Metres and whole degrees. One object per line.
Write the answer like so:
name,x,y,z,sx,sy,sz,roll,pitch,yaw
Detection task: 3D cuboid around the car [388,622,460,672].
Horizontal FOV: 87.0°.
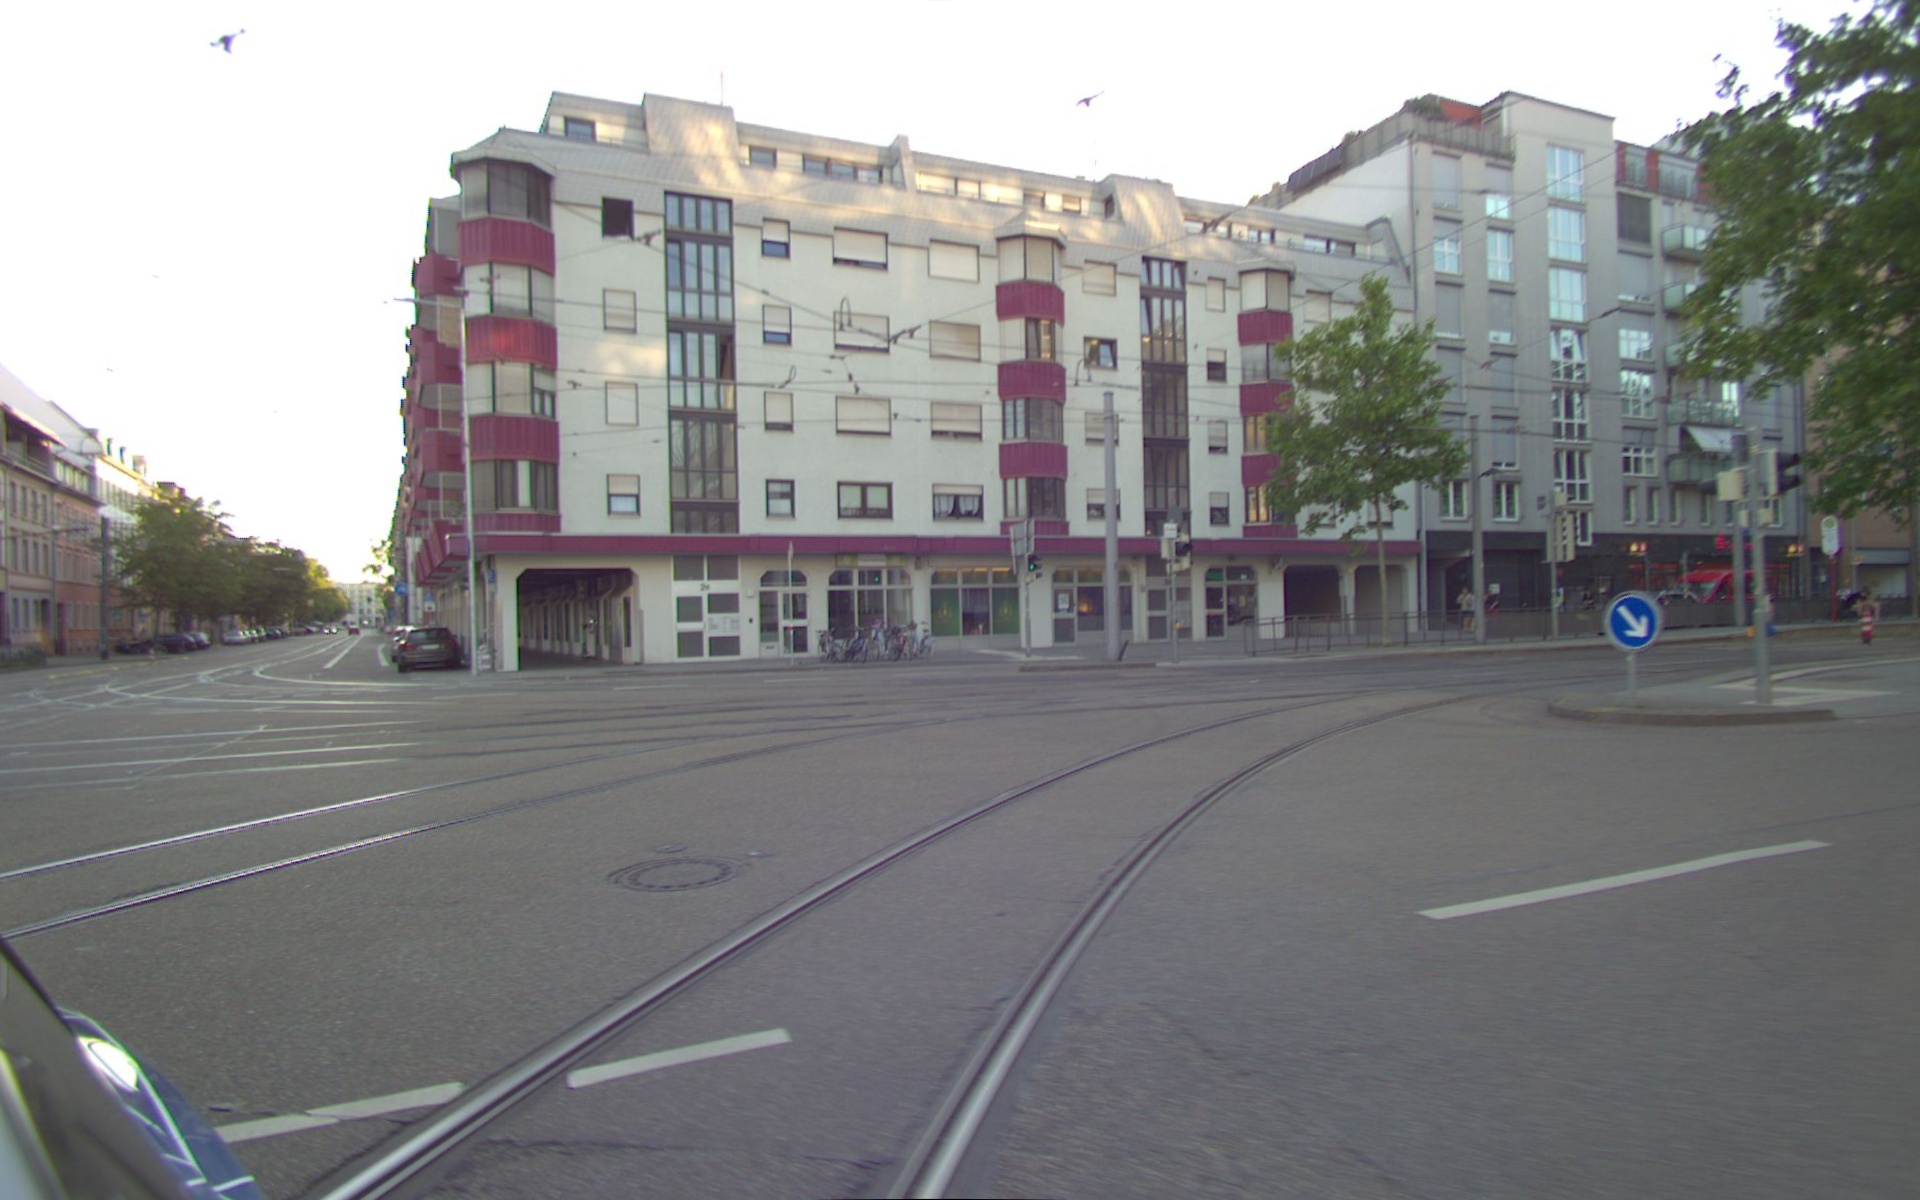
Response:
car,-17.872,1.510,33.846,1.973,1.468,4.311,-1,0,-27

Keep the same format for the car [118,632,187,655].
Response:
car,-58.341,3.144,73.207,3.711,1.497,1.912,-1,-1,-34

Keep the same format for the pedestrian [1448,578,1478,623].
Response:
pedestrian,20.851,0.028,41.935,0.821,1.820,0.694,-1,-1,-21

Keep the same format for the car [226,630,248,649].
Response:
car,-77.042,4.206,107.894,1.757,1.853,4.308,-1,-1,-34

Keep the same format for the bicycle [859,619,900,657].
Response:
bicycle,-2.362,1.095,29.538,0.506,1.054,1.909,-1,-1,-26

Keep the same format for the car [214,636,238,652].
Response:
car,-73.429,4.382,101.335,1.757,1.468,4.308,-1,-1,-34

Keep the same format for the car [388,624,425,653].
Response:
car,-31.311,2.151,57.276,1.756,1.468,4.310,-1,-1,-28

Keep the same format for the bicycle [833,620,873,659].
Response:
bicycle,-3.097,1.120,29.133,0.506,1.054,1.909,-1,-1,-26

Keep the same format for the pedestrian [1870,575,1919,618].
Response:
pedestrian,33.011,-0.115,35.725,0.980,1.464,0.941,-1,-1,-23

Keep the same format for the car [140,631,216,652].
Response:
car,-61.848,3.269,80.131,4.627,1.497,1.912,-1,-1,-34

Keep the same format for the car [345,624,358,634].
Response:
car,-102.971,4.907,171.333,1.757,1.468,4.309,-1,-1,-32

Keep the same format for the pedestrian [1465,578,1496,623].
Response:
pedestrian,21.175,0.024,41.182,0.821,1.820,0.694,-1,-1,-21

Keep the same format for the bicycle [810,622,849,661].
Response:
bicycle,-3.738,1.167,28.829,0.506,1.054,1.909,-1,-1,-26

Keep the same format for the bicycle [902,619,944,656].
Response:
bicycle,-1.101,1.088,29.742,0.506,1.054,1.909,-1,-1,-26

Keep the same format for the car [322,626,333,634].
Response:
car,-126.232,6.045,201.945,1.756,1.468,4.310,-1,-1,-31

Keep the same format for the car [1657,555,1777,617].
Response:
car,33.582,-0.626,44.869,4.994,2.560,1.857,-2,-1,-22

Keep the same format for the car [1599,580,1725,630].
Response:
car,24.579,0.172,35.446,4.031,1.608,1.671,-1,-1,-23

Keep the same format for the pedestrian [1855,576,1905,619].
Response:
pedestrian,32.096,-0.080,35.317,0.980,1.464,0.941,-1,-1,-23

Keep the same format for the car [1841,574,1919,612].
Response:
car,41.455,-0.308,45.098,4.031,1.608,1.671,-1,-1,-23

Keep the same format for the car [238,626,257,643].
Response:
car,-84.664,4.108,120.270,1.757,1.853,4.308,-1,-1,-34

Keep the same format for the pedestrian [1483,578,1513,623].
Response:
pedestrian,22.260,0.009,41.886,0.821,1.820,0.694,-1,-1,-21

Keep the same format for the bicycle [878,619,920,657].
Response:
bicycle,-1.807,1.110,29.740,0.506,1.054,1.909,-1,-1,-26

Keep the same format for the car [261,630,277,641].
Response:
car,-96.244,4.957,140.906,1.757,1.446,4.308,-1,-1,-34

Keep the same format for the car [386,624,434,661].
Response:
car,-23.967,1.806,44.149,1.756,1.468,4.310,-1,-1,-28

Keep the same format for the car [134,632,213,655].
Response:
car,-60.038,3.324,77.400,4.627,1.497,1.912,-1,-1,-34
